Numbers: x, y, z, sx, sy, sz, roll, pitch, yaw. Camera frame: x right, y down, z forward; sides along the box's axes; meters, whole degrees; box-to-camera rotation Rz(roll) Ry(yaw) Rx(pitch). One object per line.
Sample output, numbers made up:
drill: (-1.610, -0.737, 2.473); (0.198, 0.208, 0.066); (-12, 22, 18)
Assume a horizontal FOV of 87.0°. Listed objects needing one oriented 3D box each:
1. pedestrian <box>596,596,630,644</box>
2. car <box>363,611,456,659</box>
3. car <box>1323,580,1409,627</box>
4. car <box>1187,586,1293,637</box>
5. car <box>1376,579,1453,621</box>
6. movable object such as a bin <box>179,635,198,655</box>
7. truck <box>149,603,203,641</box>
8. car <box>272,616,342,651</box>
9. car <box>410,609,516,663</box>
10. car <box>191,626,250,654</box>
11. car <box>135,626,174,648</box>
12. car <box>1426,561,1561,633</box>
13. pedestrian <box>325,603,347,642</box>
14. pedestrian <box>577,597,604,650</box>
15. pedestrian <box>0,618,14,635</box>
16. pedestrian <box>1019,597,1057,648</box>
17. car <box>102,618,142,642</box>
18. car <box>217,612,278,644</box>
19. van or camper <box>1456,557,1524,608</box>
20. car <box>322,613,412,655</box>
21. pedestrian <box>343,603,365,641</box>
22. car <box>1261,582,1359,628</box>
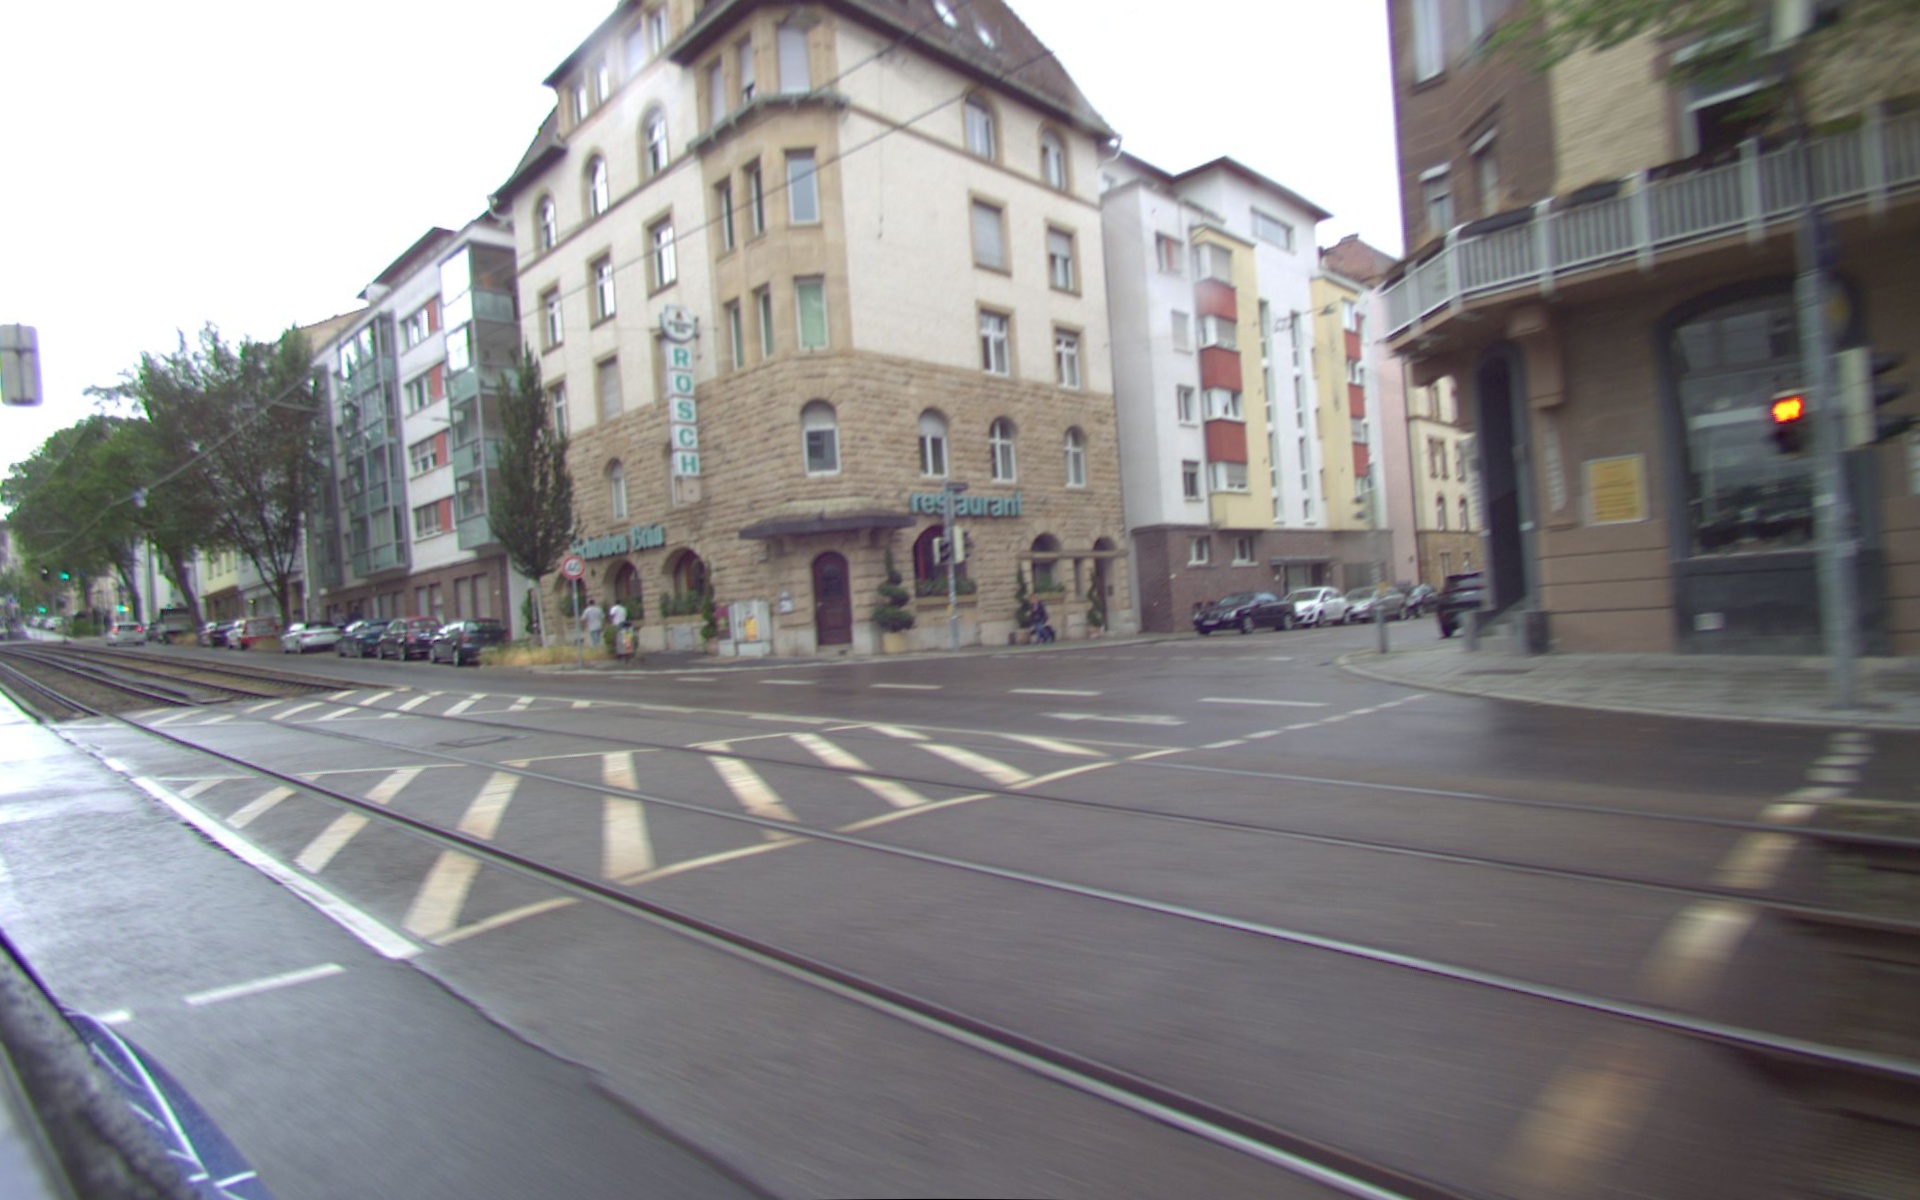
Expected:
pedestrian: (-10.692, 0.613, 31.193); (0.646, 1.432, 0.746); (-2, 1, 44)
car: (-19.522, 1.218, 35.842); (3.525, 1.509, 1.788); (-2, 1, 43)
car: (16.048, 0.111, 39.872); (1.791, 1.630, 3.944); (-3, 0, 43)
car: (9.062, 0.344, 32.594); (1.719, 1.503, 3.945); (-3, -1, 41)
car: (19.510, -0.016, 43.338); (1.791, 1.630, 3.944); (-3, 0, 43)
movable object such as a bin: (-45.764, 2.649, 60.045); (0.670, 1.130, 0.718); (-2, 0, 38)
truck: (-52.860, 1.436, 68.188); (2.167, 2.363, 6.357); (-2, 1, -44)
car: (-29.326, 1.498, 45.384); (4.131, 1.345, 1.684); (-2, 3, 44)
car: (-16.020, 1.141, 32.541); (3.895, 1.564, 1.745); (-2, 1, 43)
car: (-42.643, 2.299, 58.337); (4.469, 1.451, 1.886); (-2, 1, 43)
car: (-60.004, 2.721, 75.345); (4.361, 1.471, 1.686); (-2, 2, 44)
car: (13.232, -0.105, 24.992); (1.843, 1.577, 4.165); (-2, 1, 43)
pedestrian: (-29.951, 1.076, 48.602); (0.782, 1.785, 0.666); (-2, 1, 44)
pedestrian: (-11.200, 0.703, 30.661); (0.511, 1.582, 0.644); (-1, 0, -45)
pedestrian: (-102.525, 2.829, 108.762); (0.965, 1.796, 1.105); (-2, 0, 44)
pedestrian: (2.270, 0.646, 29.325); (0.807, 1.426, 0.722); (-2, 0, -43)
car: (-54.592, 1.951, 65.929); (3.582, 1.493, 1.609); (-2, 1, 45)
car: (-37.500, 1.474, 53.240); (4.159, 1.581, 1.757); (-2, 1, 43)
van or camper: (28.037, -0.941, 53.479); (1.937, 2.497, 4.678); (-3, 0, 43)
car: (-23.042, 1.311, 39.229); (4.431, 1.465, 1.781); (-2, 1, 43)
pedestrian: (-29.436, 1.056, 49.157); (0.782, 1.785, 0.666); (-2, 1, 44)
car: (12.686, 0.167, 36.578); (1.819, 1.493, 3.942); (-3, -1, 44)
